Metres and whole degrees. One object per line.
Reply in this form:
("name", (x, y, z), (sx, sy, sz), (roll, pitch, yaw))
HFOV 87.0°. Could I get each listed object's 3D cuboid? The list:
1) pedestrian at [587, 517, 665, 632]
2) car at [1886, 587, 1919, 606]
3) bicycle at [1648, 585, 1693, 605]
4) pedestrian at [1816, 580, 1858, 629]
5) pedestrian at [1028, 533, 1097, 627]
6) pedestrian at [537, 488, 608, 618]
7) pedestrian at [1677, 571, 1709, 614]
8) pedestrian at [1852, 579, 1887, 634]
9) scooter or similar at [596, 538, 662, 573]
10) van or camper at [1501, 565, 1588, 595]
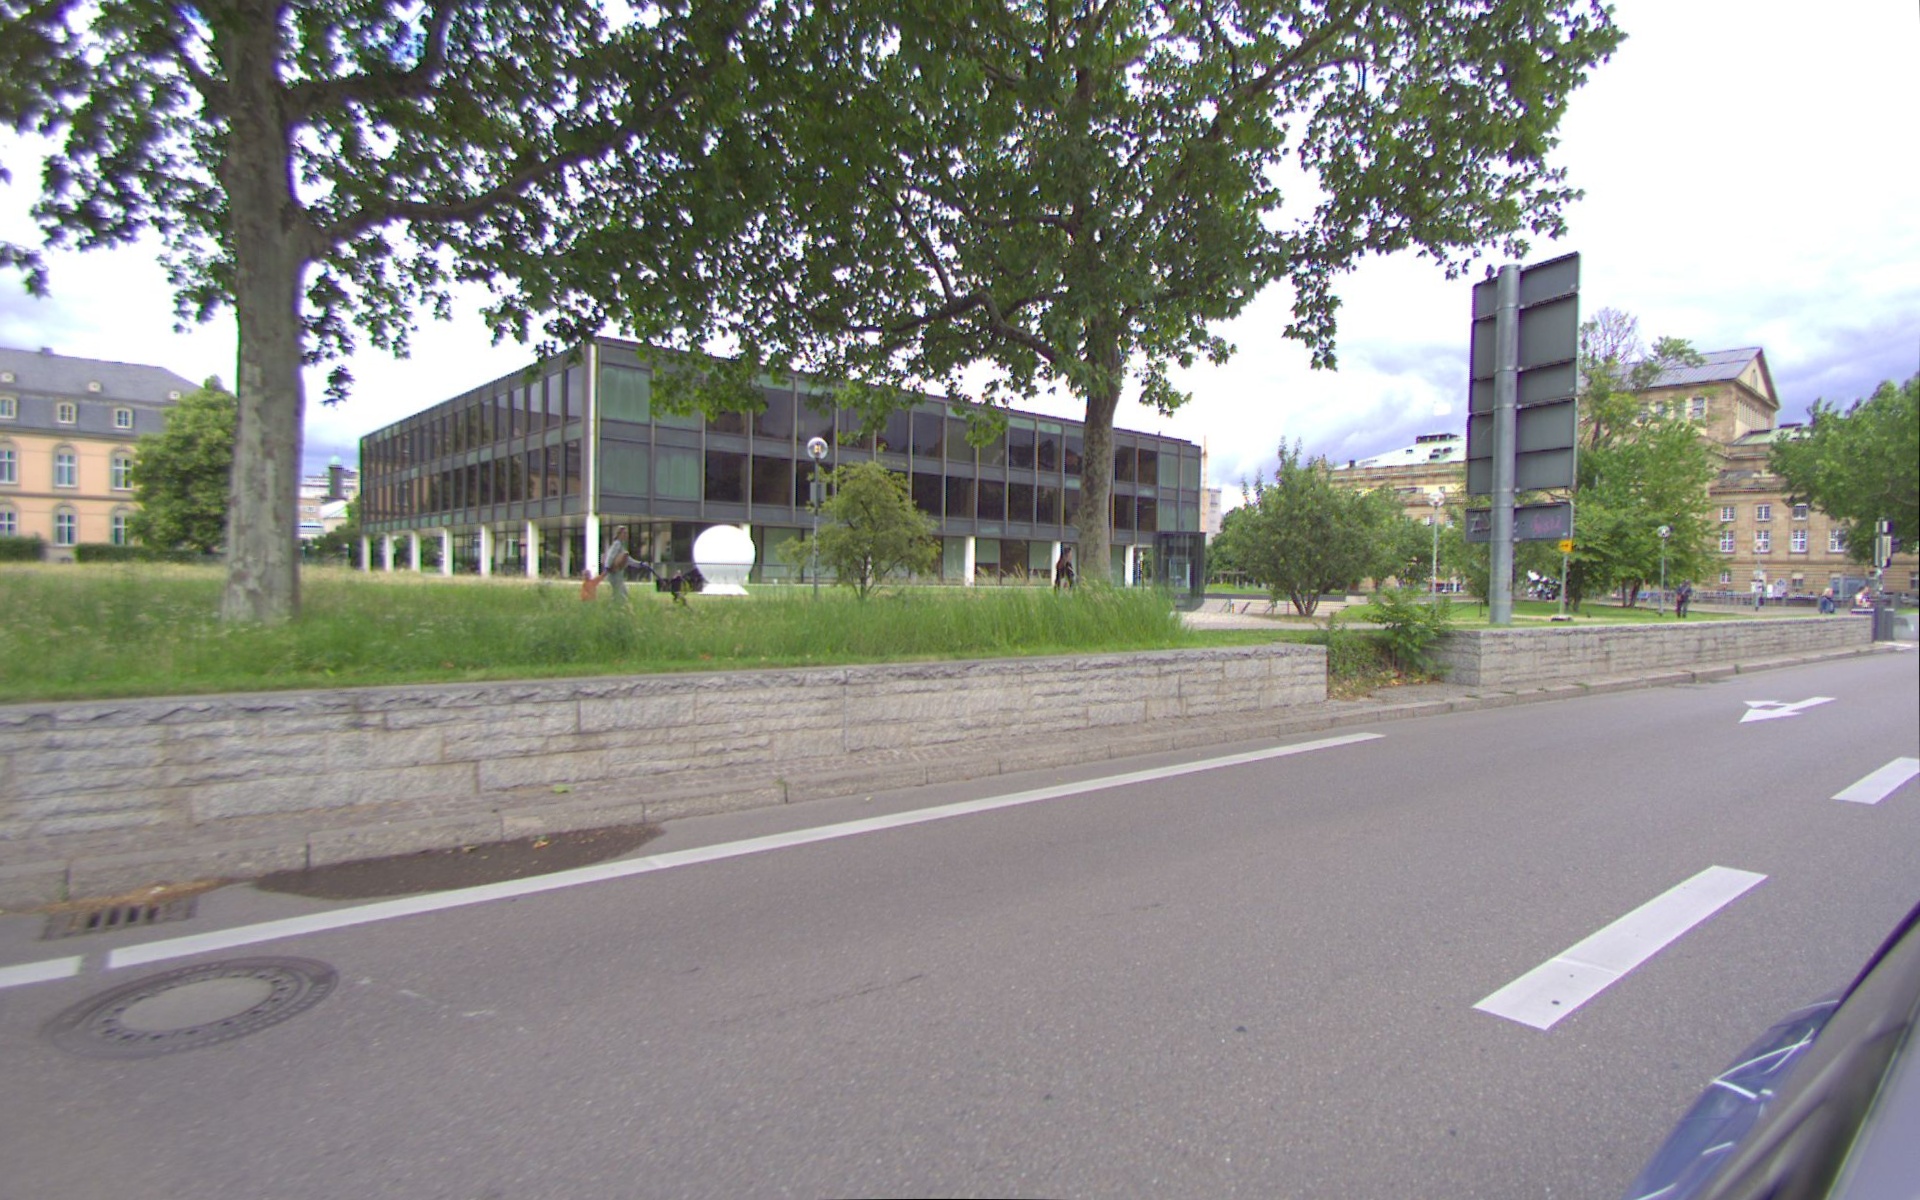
("pedestrian", (-5.644, -0.415, 17.093), (1.010, 1.860, 1.000), (-1, -1, -33))
("car", (83.355, -0.279, 89.365), (4.141, 1.537, 1.768), (2, 0, -40))
("bicycle", (44.468, -0.339, 63.385), (0.673, 1.155, 2.196), (0, 2, -40))
("pedestrian", (28.582, 0.147, 32.988), (0.889, 1.581, 0.686), (1, 1, -23))
("pedestrian", (1.965, -0.372, 19.489), (0.952, 1.755, 0.897), (0, -1, -40))
("pedestrian", (-6.273, -0.747, 16.388), (0.916, 2.039, 0.571), (-1, -1, -40))
("pedestrian", (28.284, -0.298, 39.053), (0.614, 1.646, 0.805), (1, 1, -33))
("pedestrian", (28.002, 0.203, 31.162), (0.672, 1.677, 0.698), (-1, -1, -41))
("scooter or similar", (-5.562, -0.739, 16.994), (0.881, 0.559, 0.619), (-1, 0, -40))
("van or camper", (47.718, -1.592, 82.703), (2.280, 2.348, 5.707), (-2, 2, -40))
